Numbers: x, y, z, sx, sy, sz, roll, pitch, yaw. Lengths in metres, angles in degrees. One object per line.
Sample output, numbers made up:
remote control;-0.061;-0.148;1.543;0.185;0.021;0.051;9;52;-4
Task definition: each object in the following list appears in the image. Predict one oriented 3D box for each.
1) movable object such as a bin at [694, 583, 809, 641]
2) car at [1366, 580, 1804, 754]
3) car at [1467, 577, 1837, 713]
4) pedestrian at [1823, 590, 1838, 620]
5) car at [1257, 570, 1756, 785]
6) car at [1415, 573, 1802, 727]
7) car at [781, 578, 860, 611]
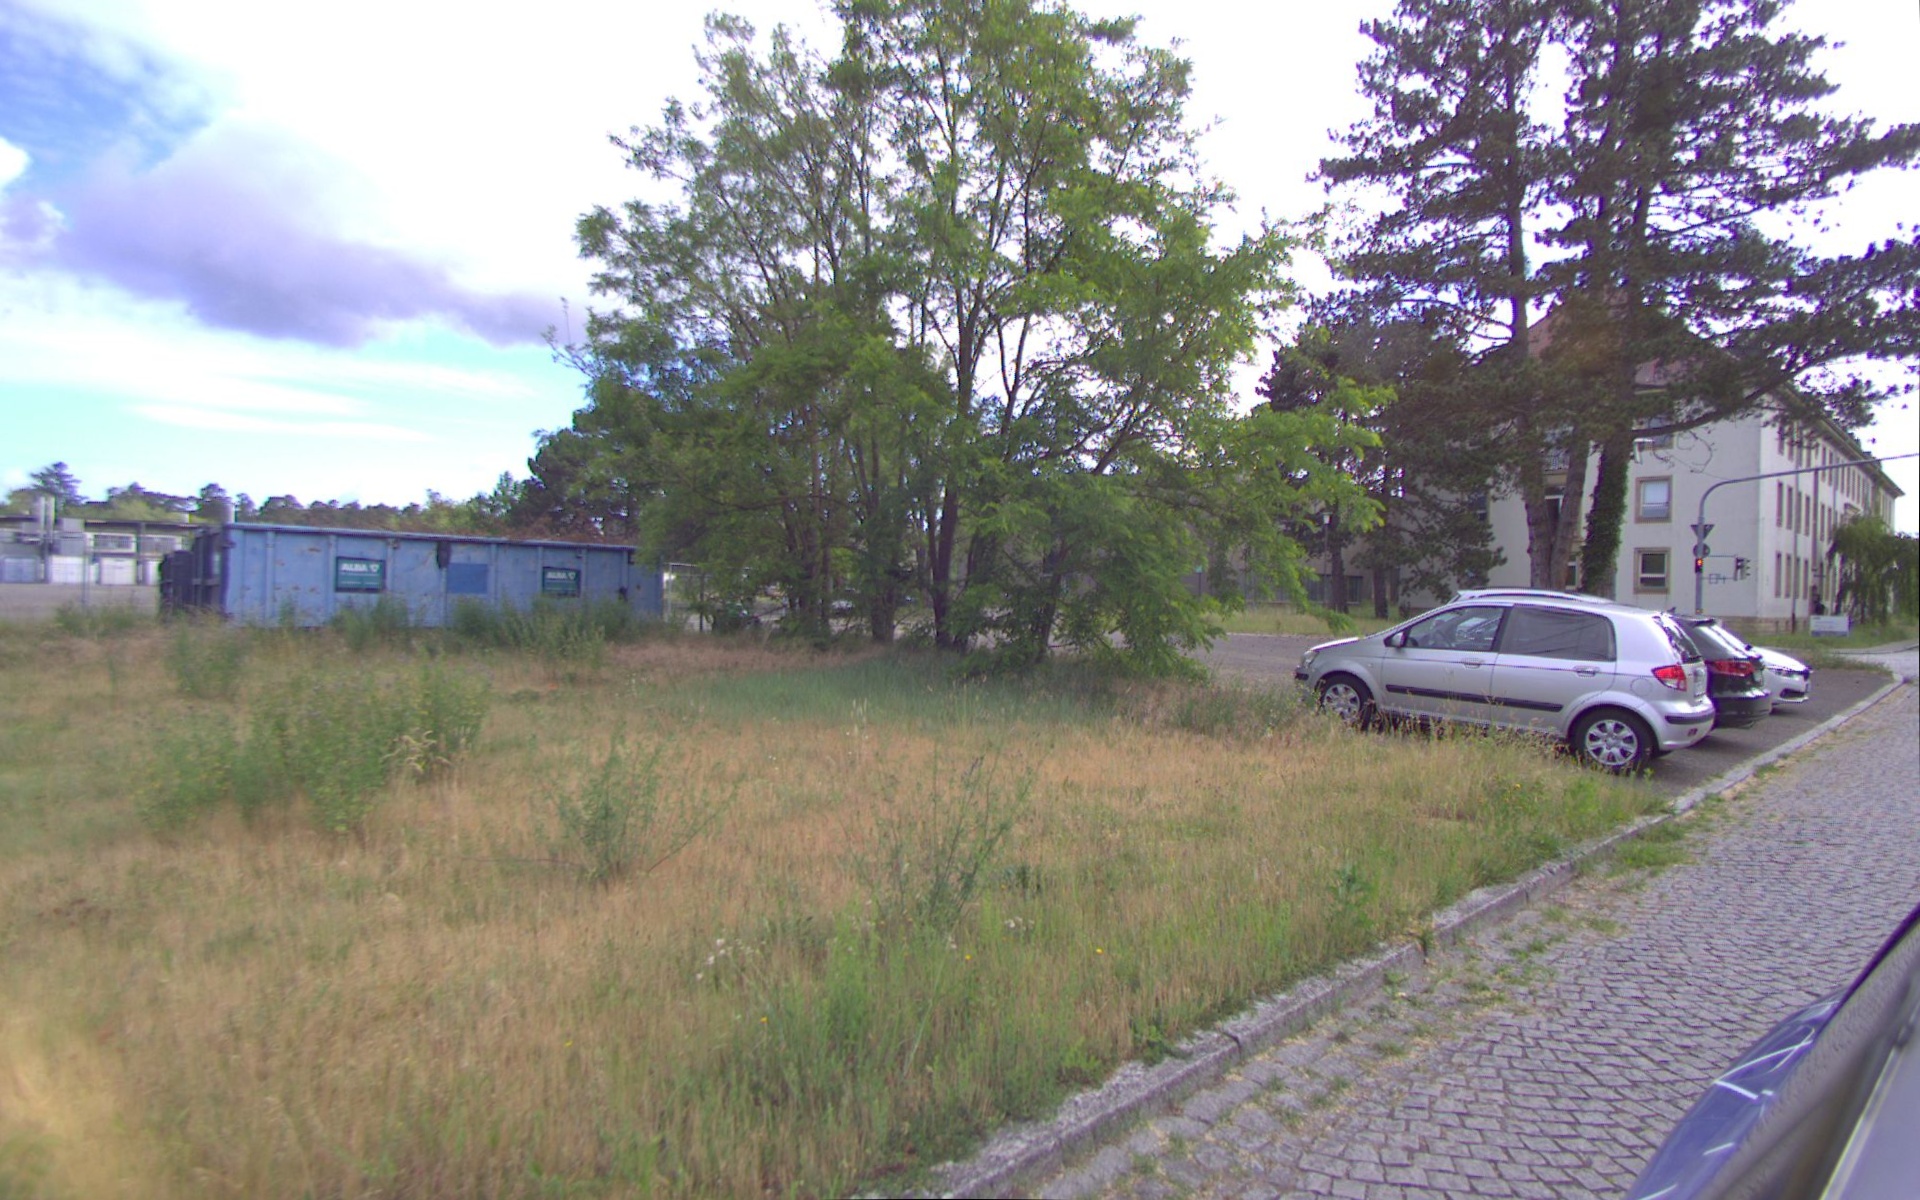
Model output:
movable object such as a bin;-4.033;0.208;19.384;0.839;1.000;2.683;1;1;-45
car;7.312;0.641;12.127;1.854;1.470;4.079;1;4;-44
car;10.775;0.577;16.026;1.874;1.584;4.498;1;4;-44
pedestrian;49.285;0.284;57.295;0.522;1.722;0.568;1;0;-39
car;5.359;0.593;10.316;1.774;1.533;4.079;1;4;-44
car;8.981;0.564;14.270;4.243;1.615;1.855;6;4;44
car;-6.991;-0.292;50.519;1.940;1.501;3.989;1;1;-45
